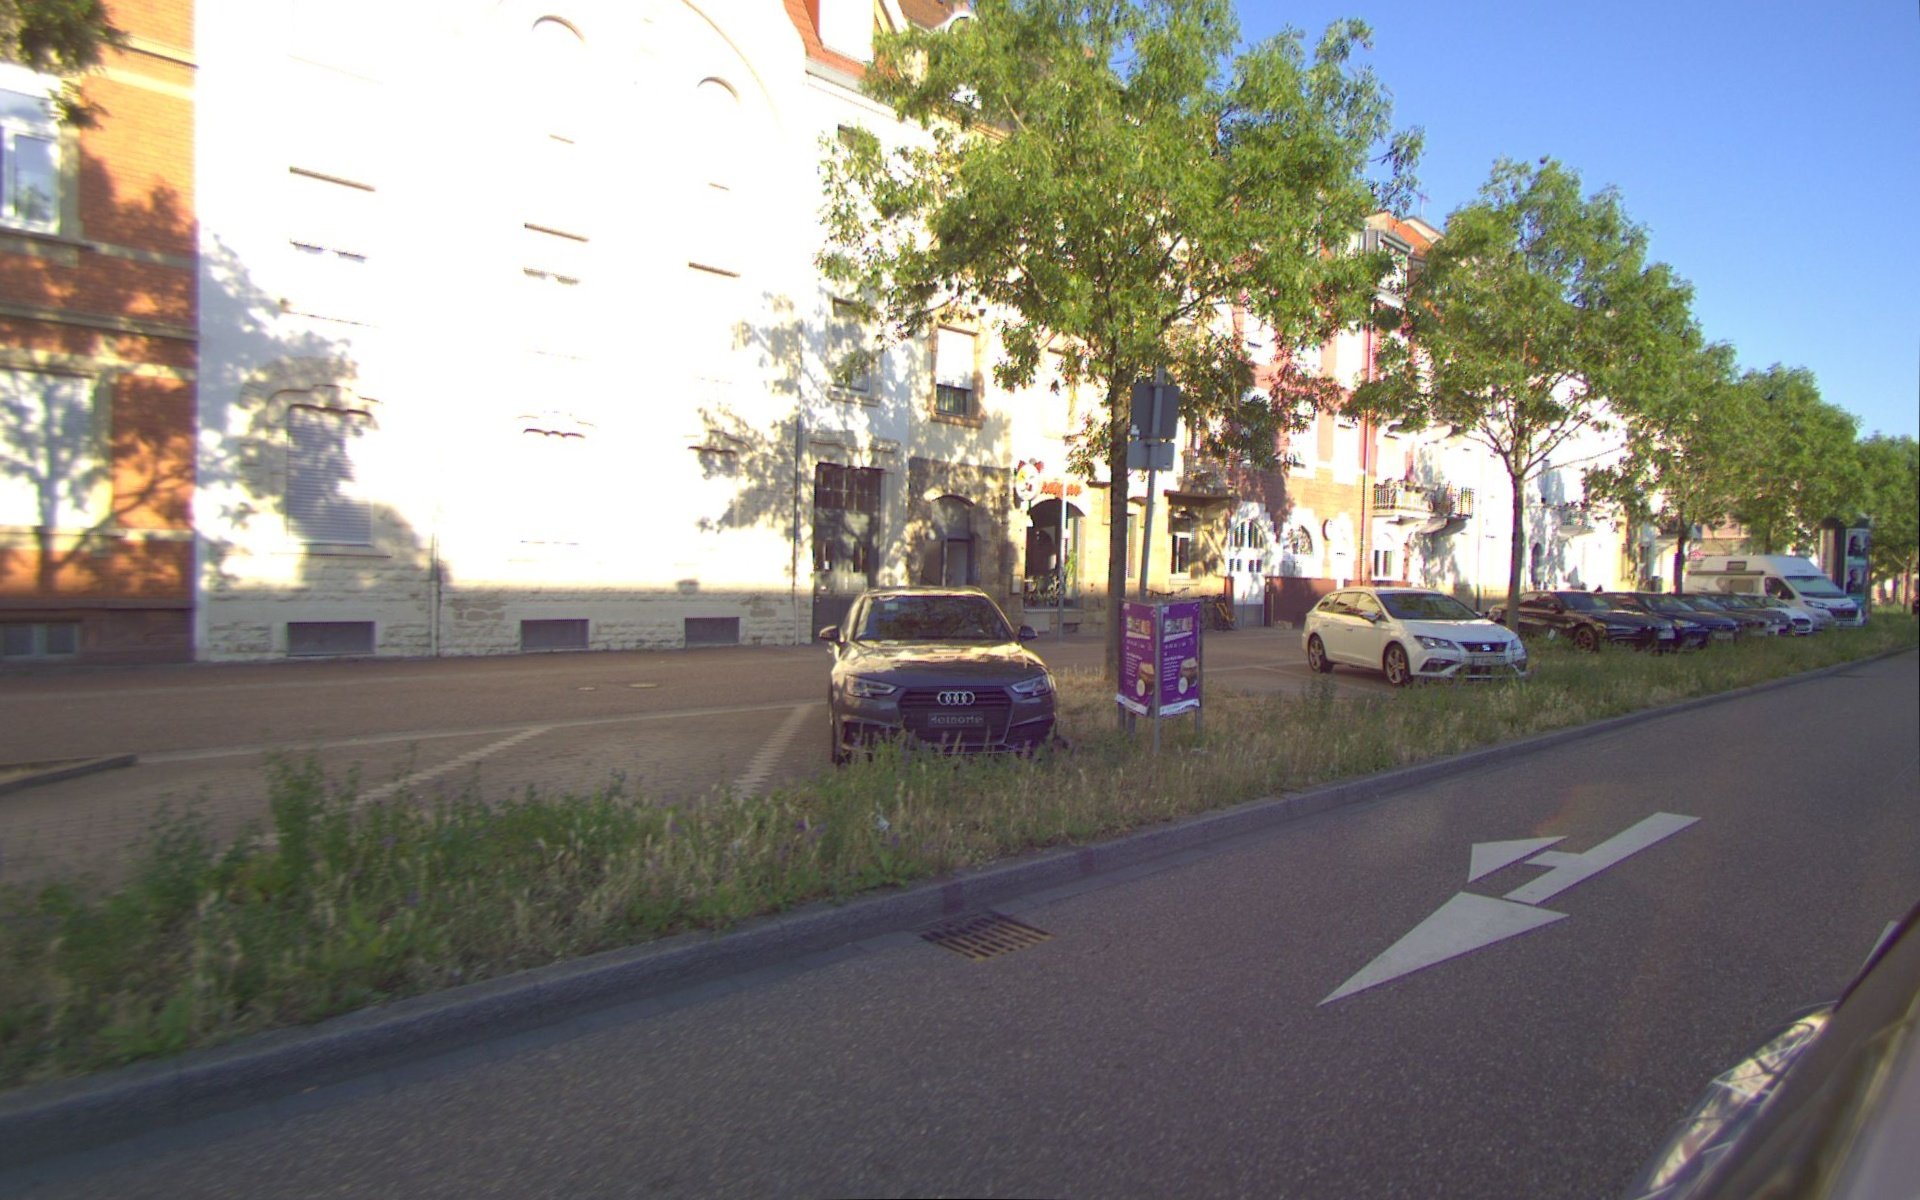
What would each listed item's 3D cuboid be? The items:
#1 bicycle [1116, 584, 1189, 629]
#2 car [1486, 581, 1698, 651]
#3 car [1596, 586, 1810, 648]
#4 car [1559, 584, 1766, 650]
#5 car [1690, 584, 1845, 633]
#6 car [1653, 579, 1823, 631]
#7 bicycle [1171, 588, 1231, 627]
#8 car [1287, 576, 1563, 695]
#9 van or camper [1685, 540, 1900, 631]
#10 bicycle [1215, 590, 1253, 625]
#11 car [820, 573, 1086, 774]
[{"bbox_3d":[4.952,0.155,25.919,2.189,1.092,0.589,0,3,-41],"label":"bicycle"},{"bbox_3d":[14.420,0.311,23.449,1.848,1.434,4.441,1,1,-5],"label":"car"},{"bbox_3d":[19.209,0.382,26.449,1.883,1.441,4.443,1,1,-9],"label":"car"},{"bbox_3d":[16.890,0.346,24.605,1.691,1.455,4.061,0,1,-12],"label":"car"},{"bbox_3d":[26.231,0.226,33.070,1.761,1.420,3.926,1,2,-2],"label":"car"},{"bbox_3d":[23.929,0.102,31.365,1.760,1.420,4.280,1,2,-3],"label":"car"},{"bbox_3d":[6.516,0.199,27.310,1.894,1.003,0.580,0,2,-41],"label":"bicycle"},{"bbox_3d":[6.994,0.431,15.885,1.810,1.528,4.652,1,2,-5],"label":"car"},{"bbox_3d":[28.620,-0.548,35.146,2.159,2.847,5.662,1,2,-9],"label":"van or camper"},{"bbox_3d":[7.764,0.210,28.643,1.197,0.973,0.419,0,2,-41],"label":"bicycle"},{"bbox_3d":[-0.349,0.467,9.418,1.857,1.364,4.591,1,2,-8],"label":"car"}]
